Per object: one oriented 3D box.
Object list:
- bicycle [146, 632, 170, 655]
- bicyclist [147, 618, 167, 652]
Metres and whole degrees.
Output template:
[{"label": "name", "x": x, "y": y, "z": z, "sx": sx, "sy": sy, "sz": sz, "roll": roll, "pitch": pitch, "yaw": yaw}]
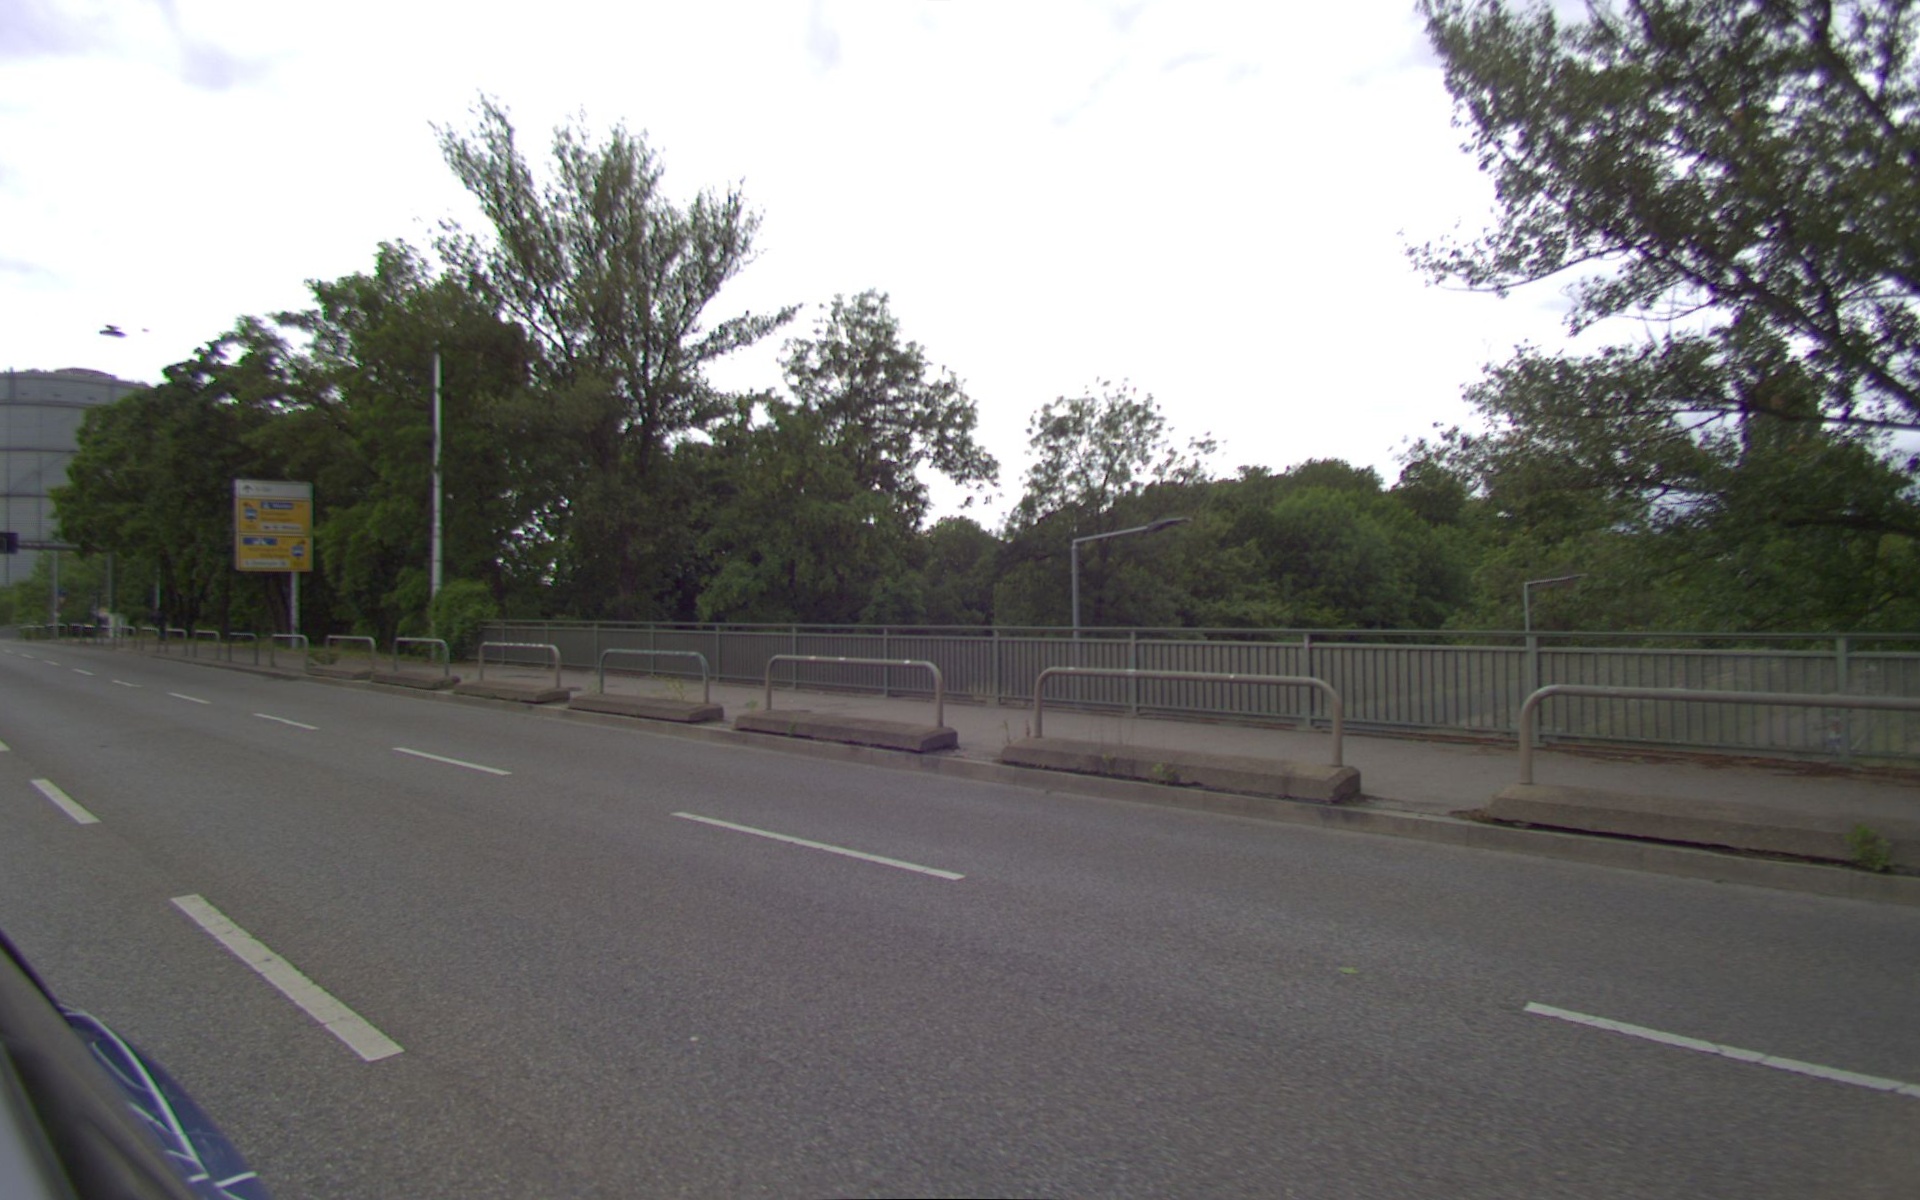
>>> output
[{"label": "bicycle", "x": -36.435, "y": 1.962, "z": 45.951, "sx": 2.000, "sy": 1.009, "sz": 0.479, "roll": -1, "pitch": -2, "yaw": 41}, {"label": "bicyclist", "x": -36.496, "y": 1.567, "z": 46.016, "sx": 0.983, "sy": 1.528, "sz": 0.509, "roll": -1, "pitch": -2, "yaw": 41}]
